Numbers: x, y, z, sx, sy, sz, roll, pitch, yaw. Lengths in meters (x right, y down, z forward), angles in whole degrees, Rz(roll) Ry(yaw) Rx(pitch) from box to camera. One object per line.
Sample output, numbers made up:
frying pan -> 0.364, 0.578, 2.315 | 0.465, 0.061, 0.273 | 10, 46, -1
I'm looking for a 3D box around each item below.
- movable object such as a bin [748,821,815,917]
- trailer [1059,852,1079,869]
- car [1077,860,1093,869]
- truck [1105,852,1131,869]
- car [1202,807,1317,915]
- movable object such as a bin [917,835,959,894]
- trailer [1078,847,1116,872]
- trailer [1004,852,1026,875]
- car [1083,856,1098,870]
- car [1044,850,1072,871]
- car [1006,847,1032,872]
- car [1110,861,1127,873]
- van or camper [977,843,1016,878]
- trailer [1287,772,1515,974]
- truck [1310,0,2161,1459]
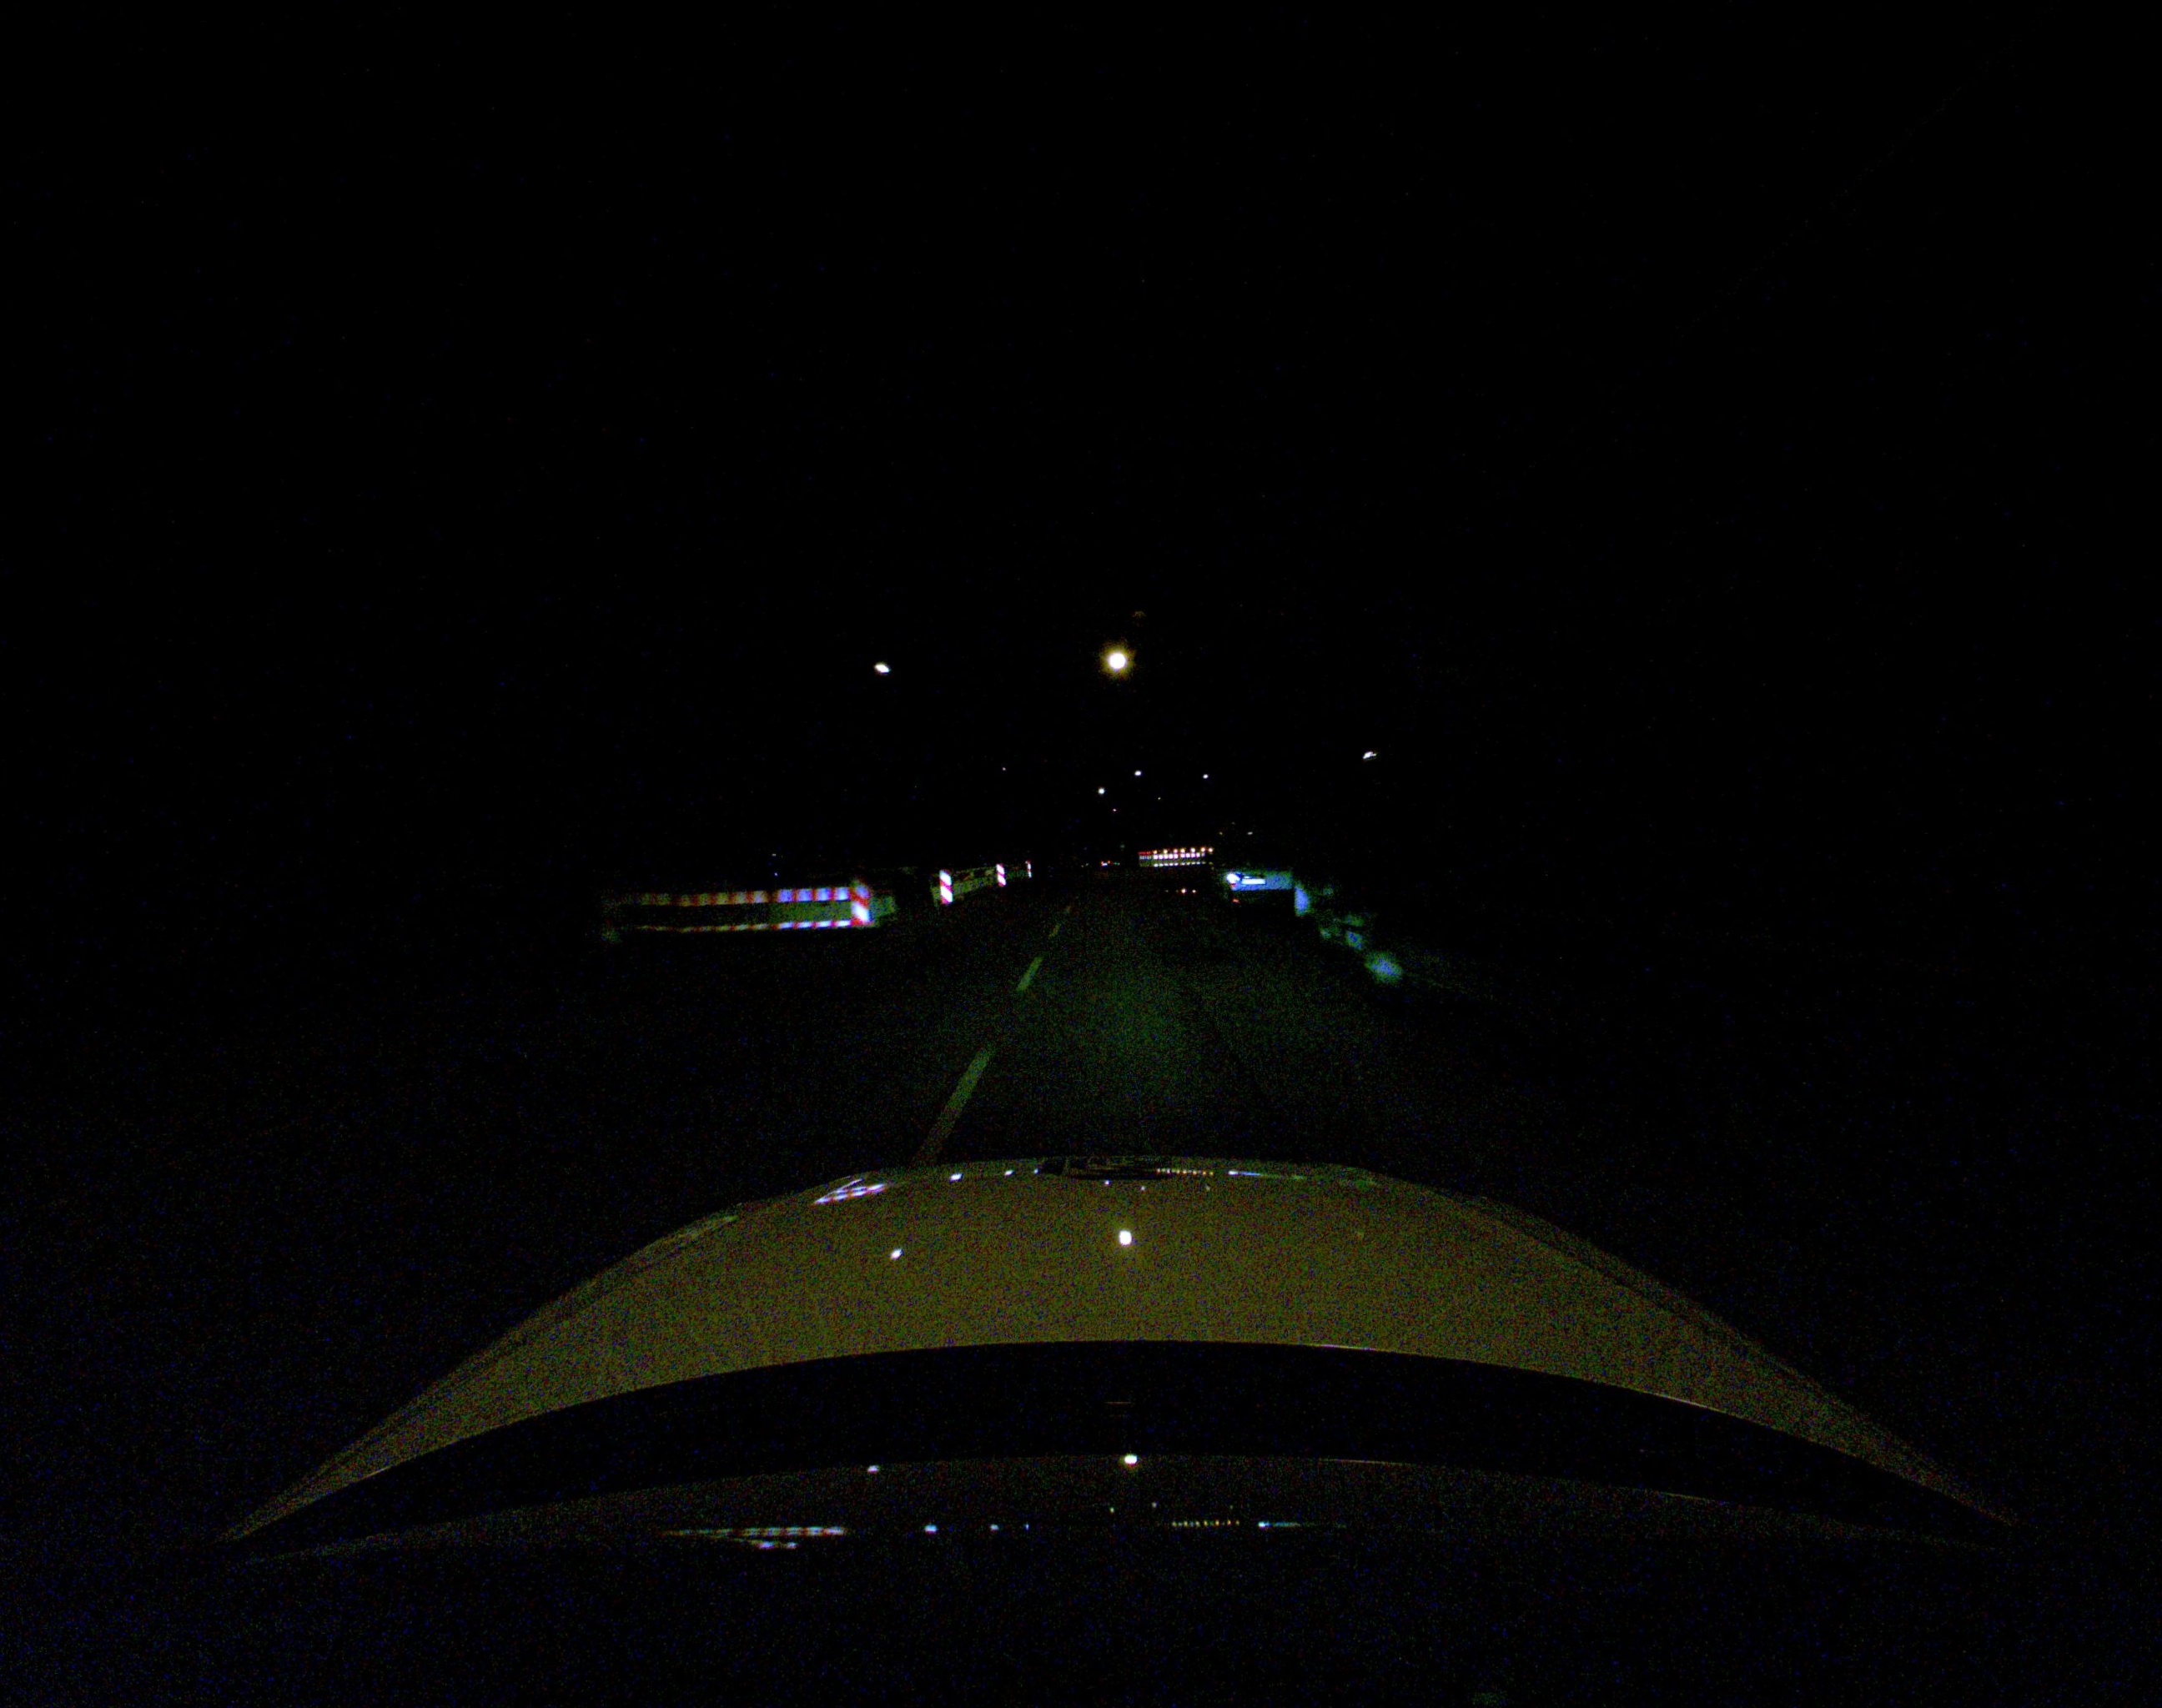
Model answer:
movable object such as a bin -> -8.342, 0.414, 22.777 | 1.553, 2.467, 2.820 | -3, -1, -20
trailer -> -2.025, 1.052, 138.401 | 1.978, 2.813, 4.723 | -2, 0, 16
car -> 0.758, 1.948, 149.679 | 1.978, 1.699, 4.224 | -2, -1, 16
truck -> 7.749, 1.325, 167.947 | 1.975, 3.404, 9.031 | -1, 0, 25
car -> 4.668, 0.133, 22.314 | 2.099, 2.516, 6.378 | -1, 0, 4
movable object such as a bin -> -7.202, 0.472, 41.277 | 1.568, 2.733, 3.694 | -5, 1, -6
trailer -> 1.558, 0.585, 82.100 | 1.567, 2.160, 5.176 | -3, -1, -26
trailer -> -7.681, 1.078, 94.904 | 1.986, 2.527, 3.569 | -4, 0, 1
car -> 1.155, 1.074, 96.957 | 1.714, 1.661, 4.001 | -1, -1, 2
car -> -3.666, 1.053, 132.228 | 2.500, 3.171, 7.166 | -4, -1, 15
car -> -7.776, 0.739, 103.184 | 2.511, 2.927, 7.199 | -4, -1, 0
car -> 5.780, 1.954, 125.319 | 1.707, 1.821, 4.017 | -1, -1, 16
van or camper -> -8.116, 0.637, 79.058 | 2.509, 3.094, 7.449 | -4, -1, 2
trailer -> 4.594, 0.208, 12.604 | 1.626, 2.473, 5.029 | -1, 0, 1
truck -> 4.279, -0.502, 4.796 | 3.312, 3.868, 9.329 | -1, 0, 1
